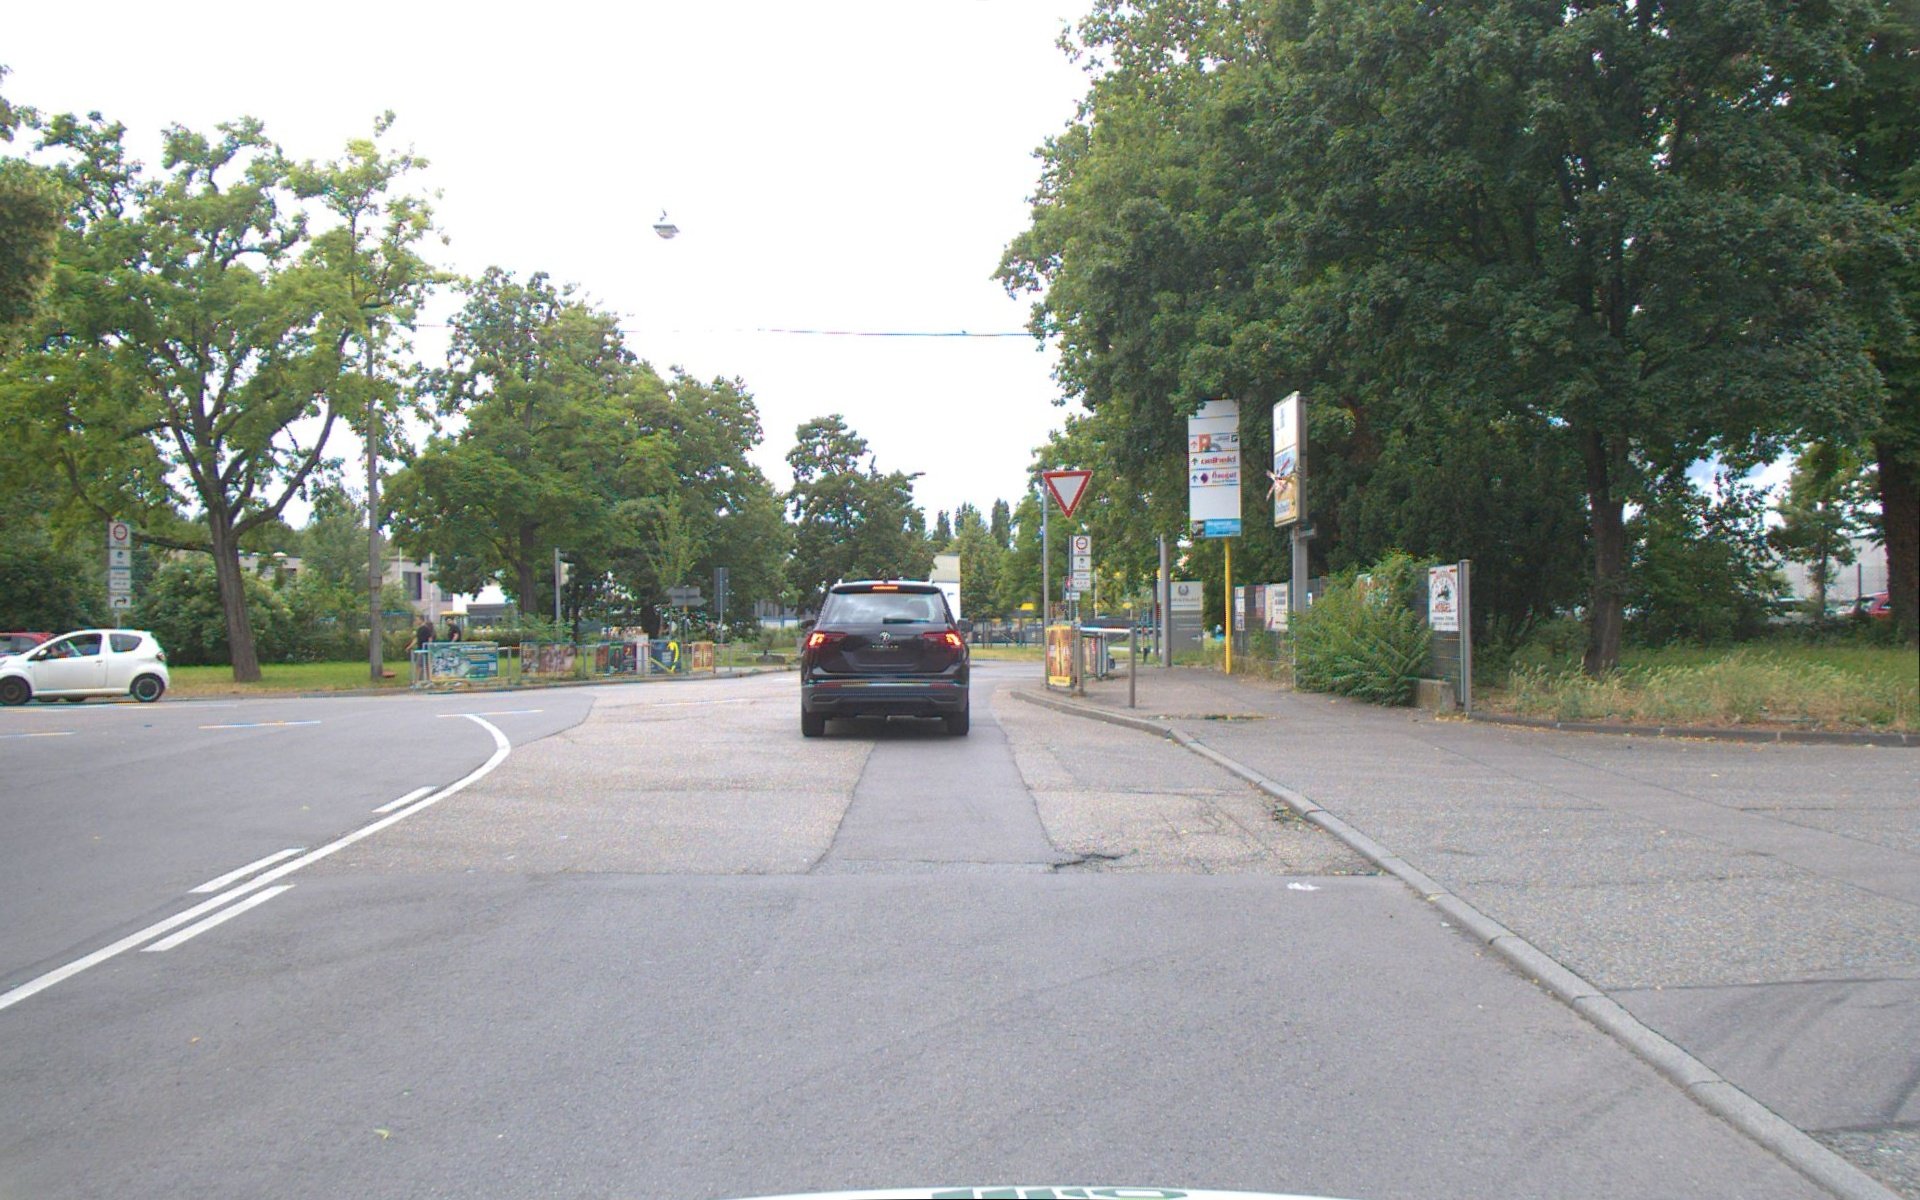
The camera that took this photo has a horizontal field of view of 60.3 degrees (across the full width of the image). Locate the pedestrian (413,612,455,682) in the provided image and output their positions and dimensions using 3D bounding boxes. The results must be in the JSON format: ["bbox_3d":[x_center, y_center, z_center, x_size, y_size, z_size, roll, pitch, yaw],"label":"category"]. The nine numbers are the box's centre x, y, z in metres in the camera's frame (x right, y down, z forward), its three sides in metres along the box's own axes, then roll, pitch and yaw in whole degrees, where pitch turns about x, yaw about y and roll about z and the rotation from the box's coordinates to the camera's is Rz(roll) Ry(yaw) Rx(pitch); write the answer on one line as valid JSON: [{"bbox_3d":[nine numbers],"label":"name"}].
[{"bbox_3d":[-13.470,1.201,42.354,0.730,1.772,0.723,-2,-1,40],"label":"pedestrian"}]

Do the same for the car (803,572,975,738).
[{"bbox_3d":[-0.806,0.569,18.380,1.704,1.646,3.638,1,-1,-3],"label":"car"}]

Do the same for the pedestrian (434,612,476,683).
[{"bbox_3d":[-12.793,1.191,41.872,0.730,1.772,0.723,-2,-1,40],"label":"pedestrian"}]

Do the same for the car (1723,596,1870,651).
[{"bbox_3d":[27.195,0.756,53.873,3.863,1.675,1.831,-1,-1,5],"label":"car"}]

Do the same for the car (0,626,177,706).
[{"bbox_3d":[-17.476,1.284,32.685,3.564,1.434,1.725,-1,-1,-29],"label":"car"}]

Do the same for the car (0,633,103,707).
[{"bbox_3d":[-20.442,1.503,35.407,3.331,1.504,1.637,-1,-1,-9],"label":"car"}]

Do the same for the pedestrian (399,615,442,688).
[{"bbox_3d":[-13.370,1.280,40.973,0.730,1.772,0.723,-2,-1,40],"label":"pedestrian"}]

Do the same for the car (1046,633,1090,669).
[{"bbox_3d":[5.132,2.386,78.043,1.623,1.602,3.831,-2,-1,10],"label":"car"}]

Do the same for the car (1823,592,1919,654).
[{"bbox_3d":[26.865,0.630,46.843,3.863,1.675,1.831,-1,-1,5],"label":"car"}]

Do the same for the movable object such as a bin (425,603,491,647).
[{"bbox_3d":[-23.922,1.186,78.856,1.952,2.049,2.399,-1,-1,21],"label":"movable object such as a bin"}]
